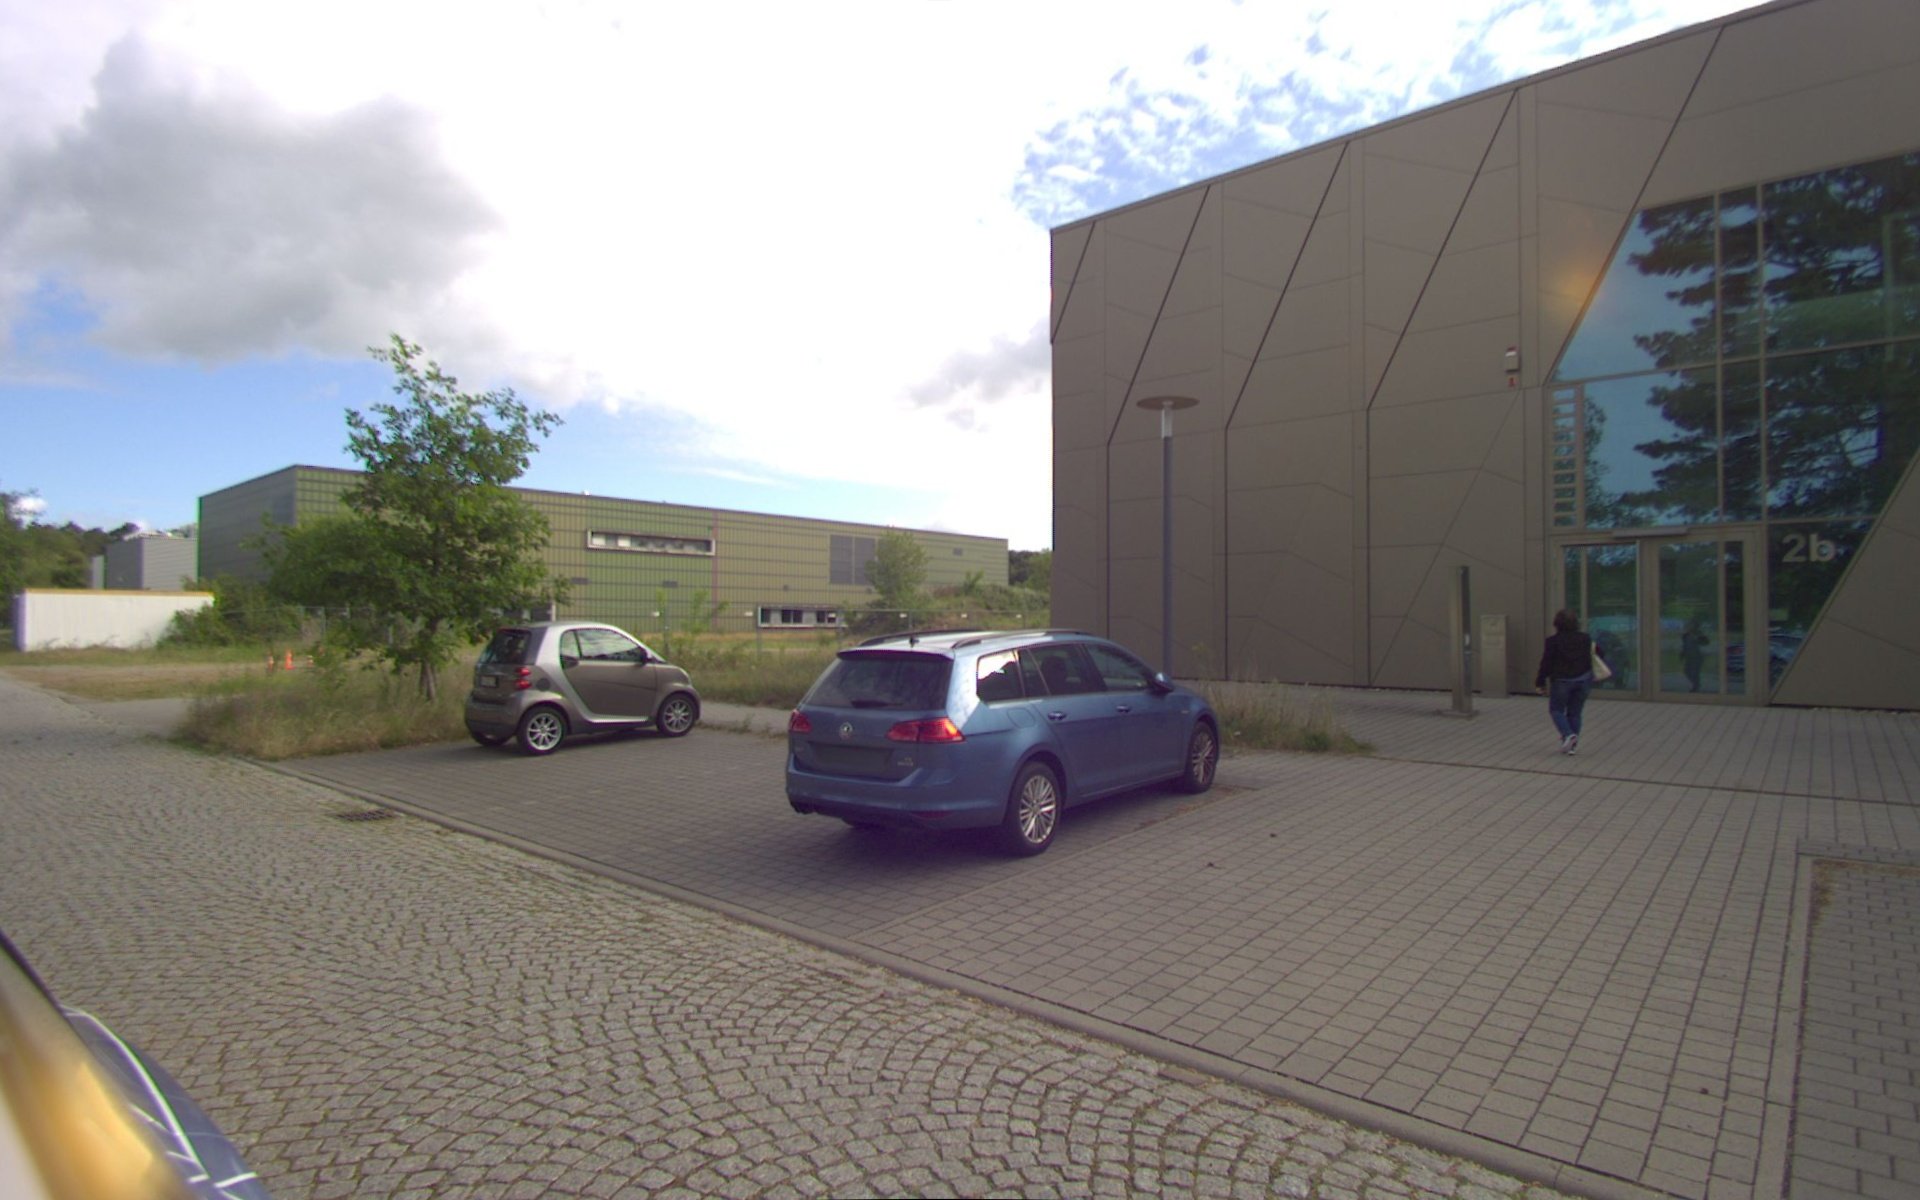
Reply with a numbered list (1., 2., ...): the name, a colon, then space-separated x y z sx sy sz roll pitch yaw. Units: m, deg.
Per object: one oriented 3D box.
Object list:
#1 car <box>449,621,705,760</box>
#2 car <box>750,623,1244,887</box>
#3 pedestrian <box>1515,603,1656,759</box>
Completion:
1. car: -4.851 1.065 12.982 1.609 1.523 2.627 -2 -1 40
2. car: 0.565 0.953 8.093 1.772 1.439 4.263 -2 -1 38
3. pedestrian: 6.332 0.788 10.303 0.807 1.506 0.986 0 0 1
